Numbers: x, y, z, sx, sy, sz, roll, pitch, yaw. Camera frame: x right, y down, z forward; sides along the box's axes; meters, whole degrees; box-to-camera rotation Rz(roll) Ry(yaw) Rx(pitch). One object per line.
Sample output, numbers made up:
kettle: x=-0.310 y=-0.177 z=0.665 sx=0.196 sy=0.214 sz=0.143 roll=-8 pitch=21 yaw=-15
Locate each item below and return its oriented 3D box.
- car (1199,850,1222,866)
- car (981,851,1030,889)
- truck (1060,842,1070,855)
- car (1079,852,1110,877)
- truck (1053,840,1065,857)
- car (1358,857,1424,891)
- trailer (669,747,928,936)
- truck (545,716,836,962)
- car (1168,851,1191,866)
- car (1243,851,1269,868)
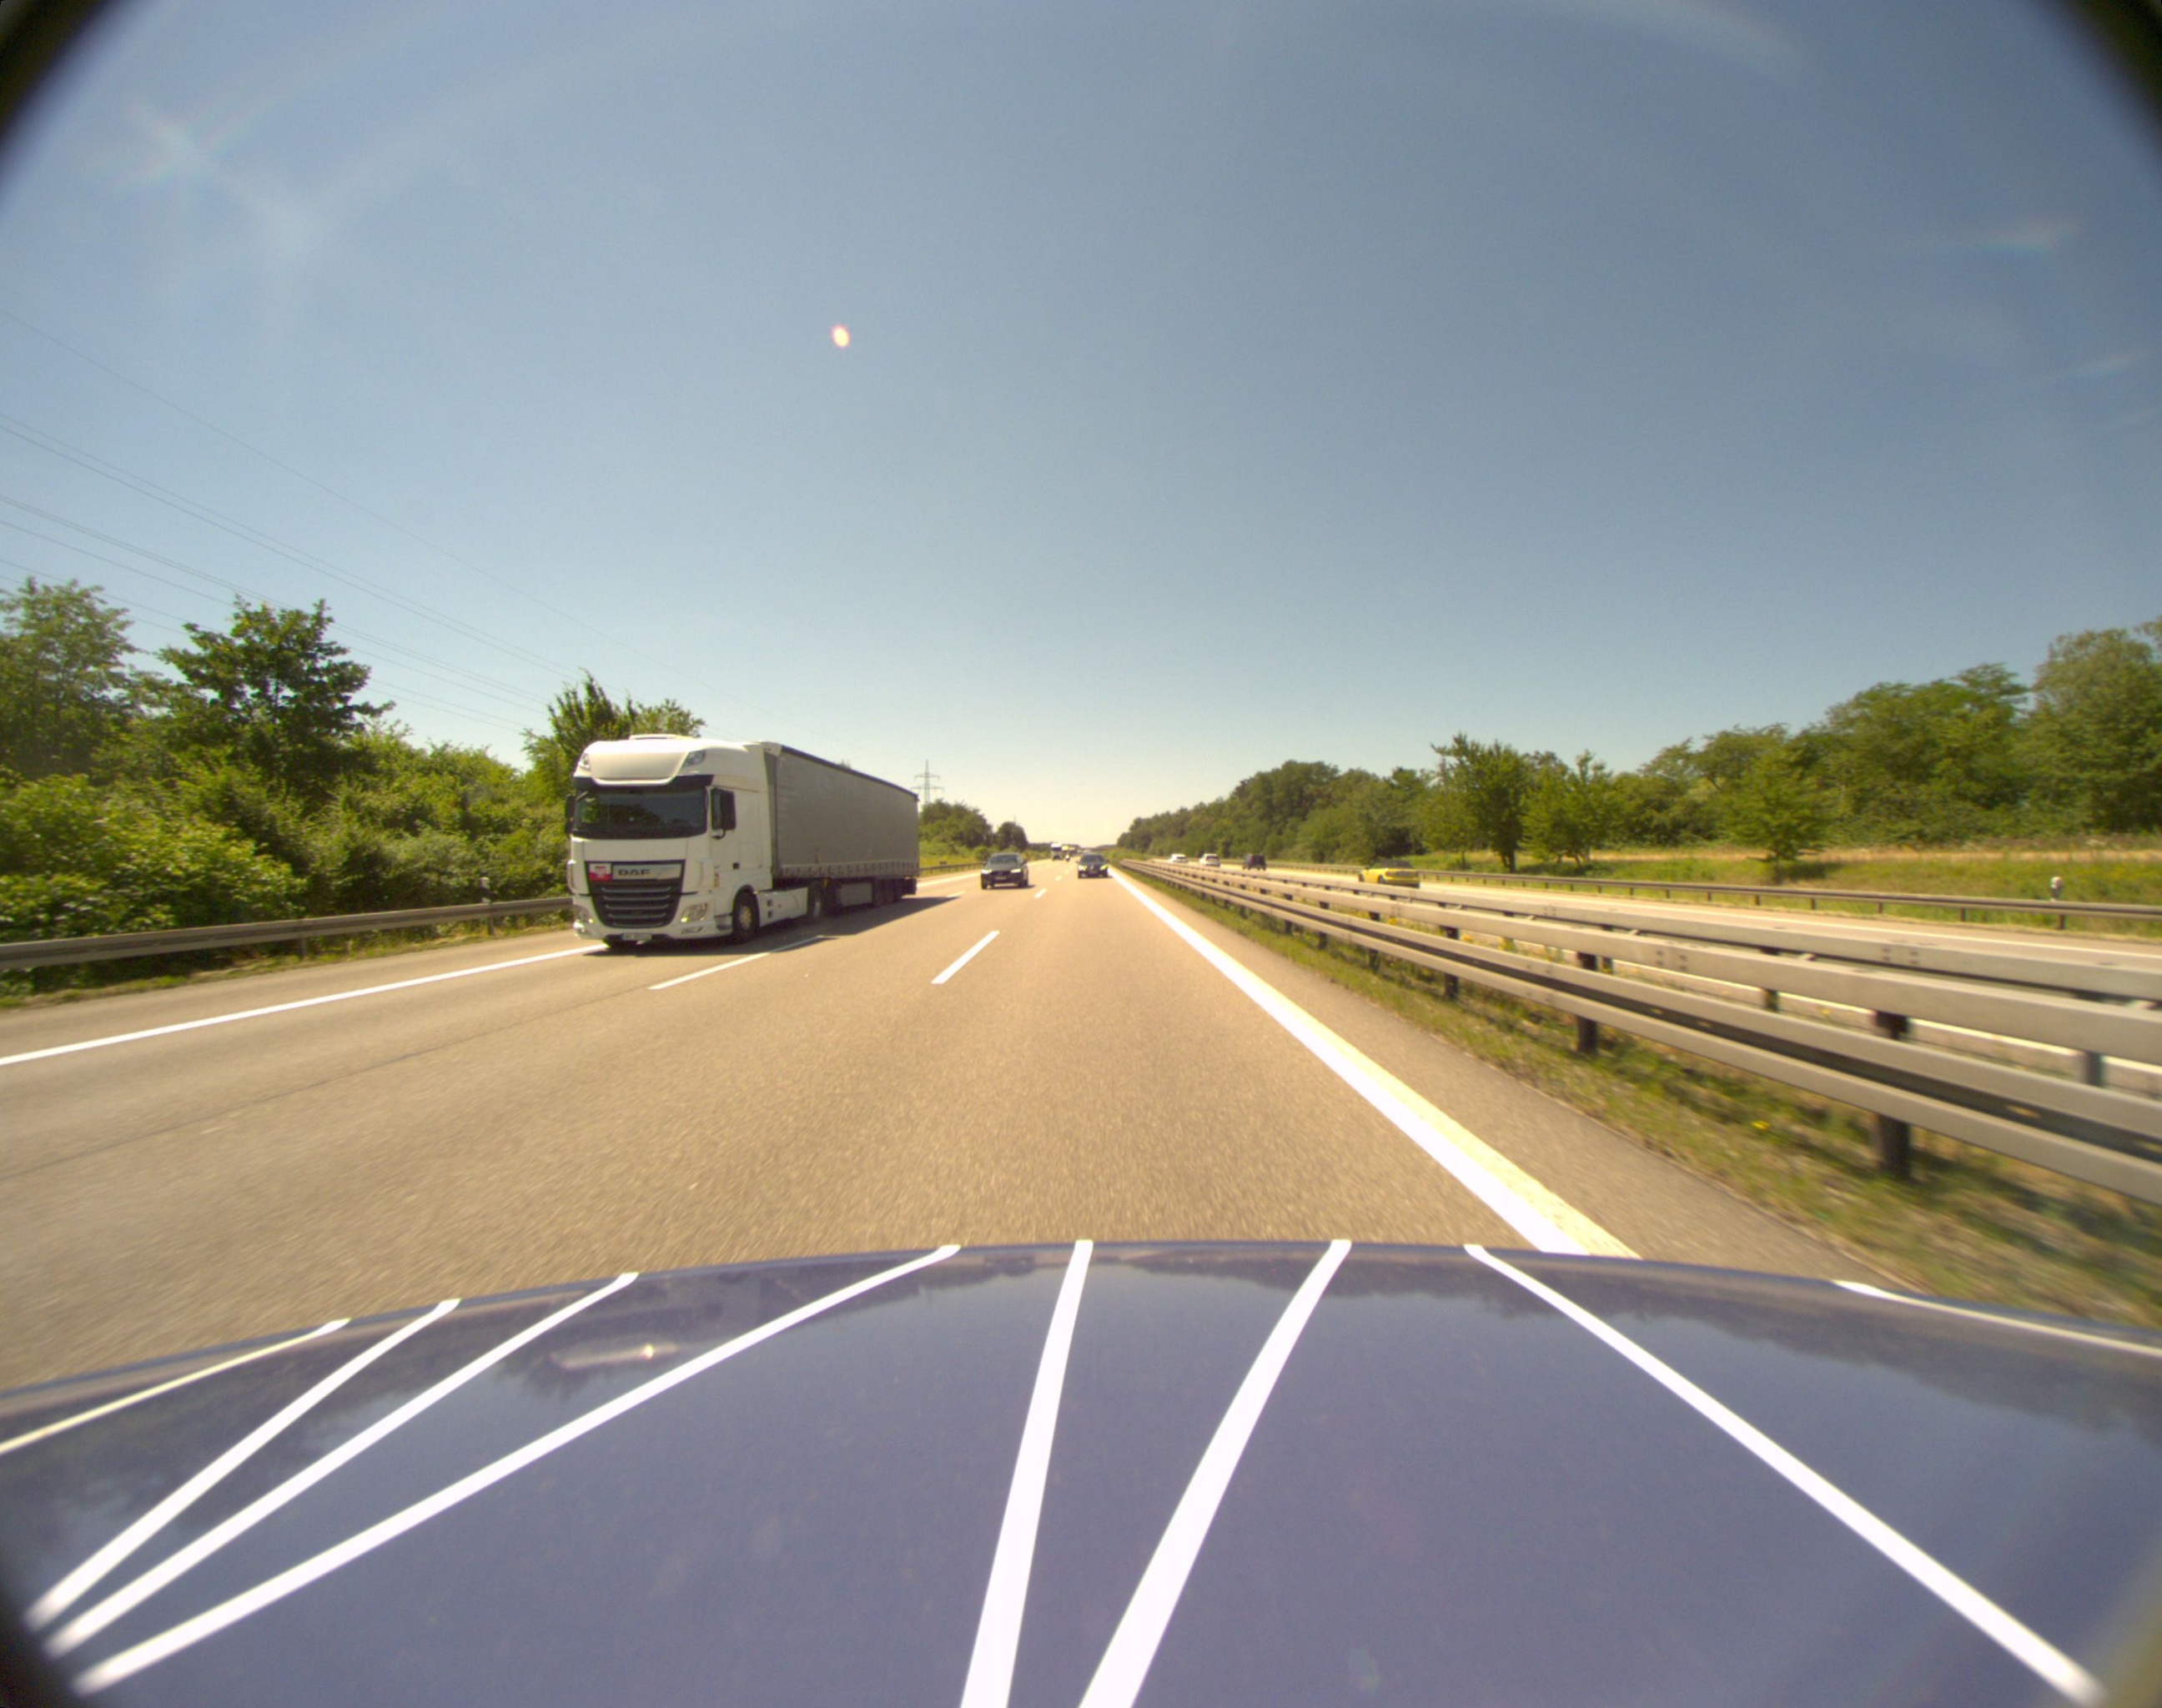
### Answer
car: x=13.965 y=0.428 z=81.872 sx=1.840 sy=1.576 sz=3.889 roll=1 pitch=1 yaw=1
car: x=-3.494 y=0.712 z=35.879 sx=1.878 sy=1.614 sz=4.004 roll=-1 pitch=0 yaw=0
truck: x=-5.190 y=-1.875 z=252.862 sx=2.978 sy=4.240 sz=12.609 roll=0 pitch=1 yaw=0
car: x=0.785 y=0.622 z=46.935 sx=1.808 sy=1.385 sz=3.999 roll=-2 pitch=1 yaw=0
truck: x=-5.243 y=-1.254 z=180.489 sx=2.573 sy=3.871 sz=5.722 roll=-2 pitch=1 yaw=0
car: x=14.064 y=0.876 z=34.649 sx=1.586 sy=1.420 sz=3.476 roll=1 pitch=1 yaw=1
trailer: x=-7.518 y=-0.317 z=23.212 sx=2.743 sy=4.083 sz=13.121 roll=-2 pitch=0 yaw=1
truck: x=-7.597 y=-0.267 z=15.939 sx=2.743 sy=4.096 sz=6.124 roll=-2 pitch=1 yaw=1
car: x=10.104 y=0.426 z=78.074 sx=1.799 sy=1.483 sz=4.238 roll=1 pitch=0 yaw=1
car: x=17.770 y=0.541 z=77.382 sx=1.737 sy=1.584 sz=3.902 roll=1 pitch=1 yaw=1
